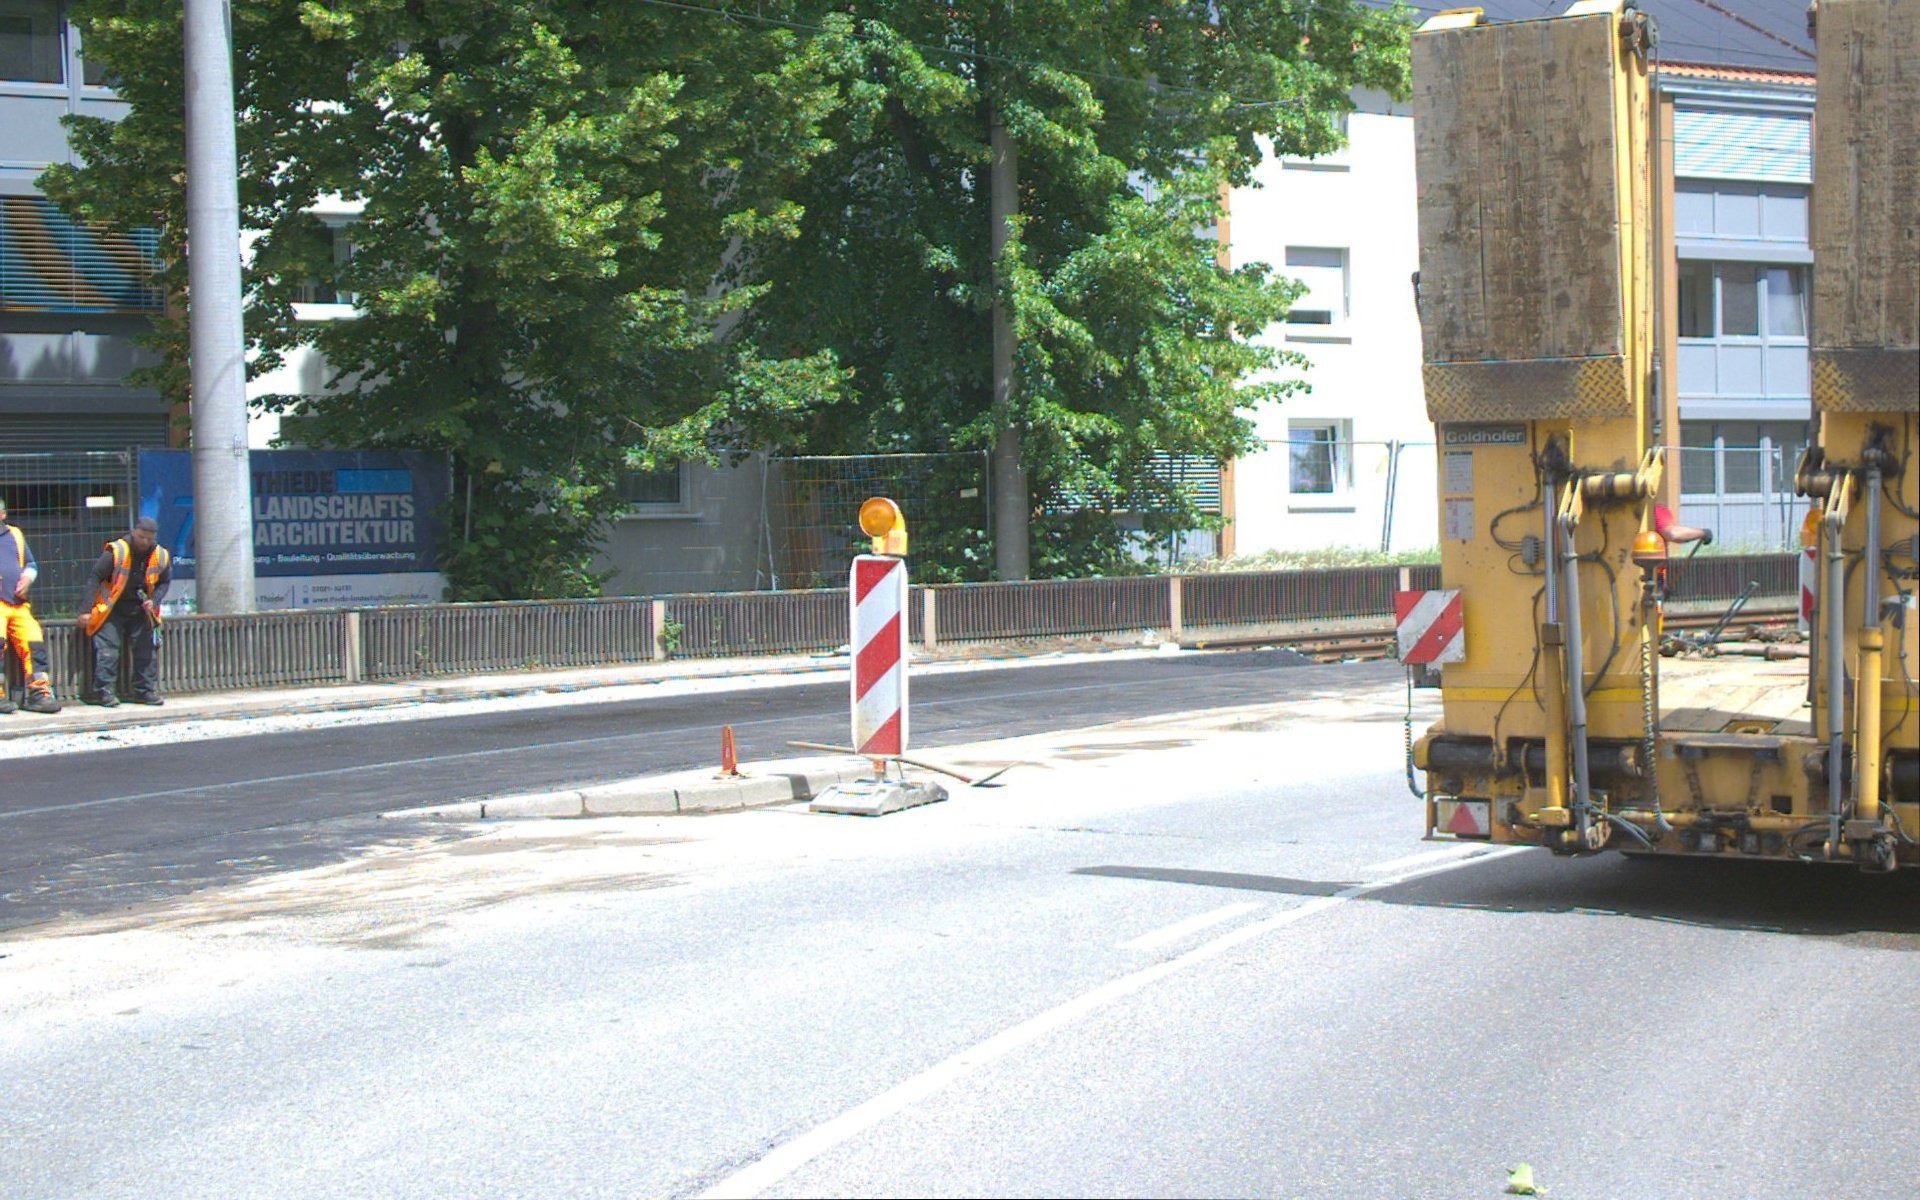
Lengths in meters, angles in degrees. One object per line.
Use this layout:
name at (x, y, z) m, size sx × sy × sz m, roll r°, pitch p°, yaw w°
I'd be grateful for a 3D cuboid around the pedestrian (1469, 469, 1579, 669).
pedestrian at (4.791, -0.266, 29.207) m, size 0.705 × 1.662 × 0.827 m, roll 0°, pitch 1°, yaw 27°

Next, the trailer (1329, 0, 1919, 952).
trailer at (5.549, -0.650, 17.333) m, size 2.828 × 3.512 × 11.032 m, roll 2°, pitch 2°, yaw 31°

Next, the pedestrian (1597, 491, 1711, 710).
pedestrian at (5.023, -0.013, 24.935) m, size 0.762 × 1.546 × 0.901 m, roll 0°, pitch 2°, yaw 9°

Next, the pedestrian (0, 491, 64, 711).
pedestrian at (-6.853, 0.003, 24.571) m, size 0.759 × 1.535 × 0.798 m, roll -2°, pitch 1°, yaw -19°

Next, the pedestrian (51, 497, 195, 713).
pedestrian at (-6.128, 0.023, 25.160) m, size 0.904 × 1.527 × 0.842 m, roll -2°, pitch 1°, yaw -19°
